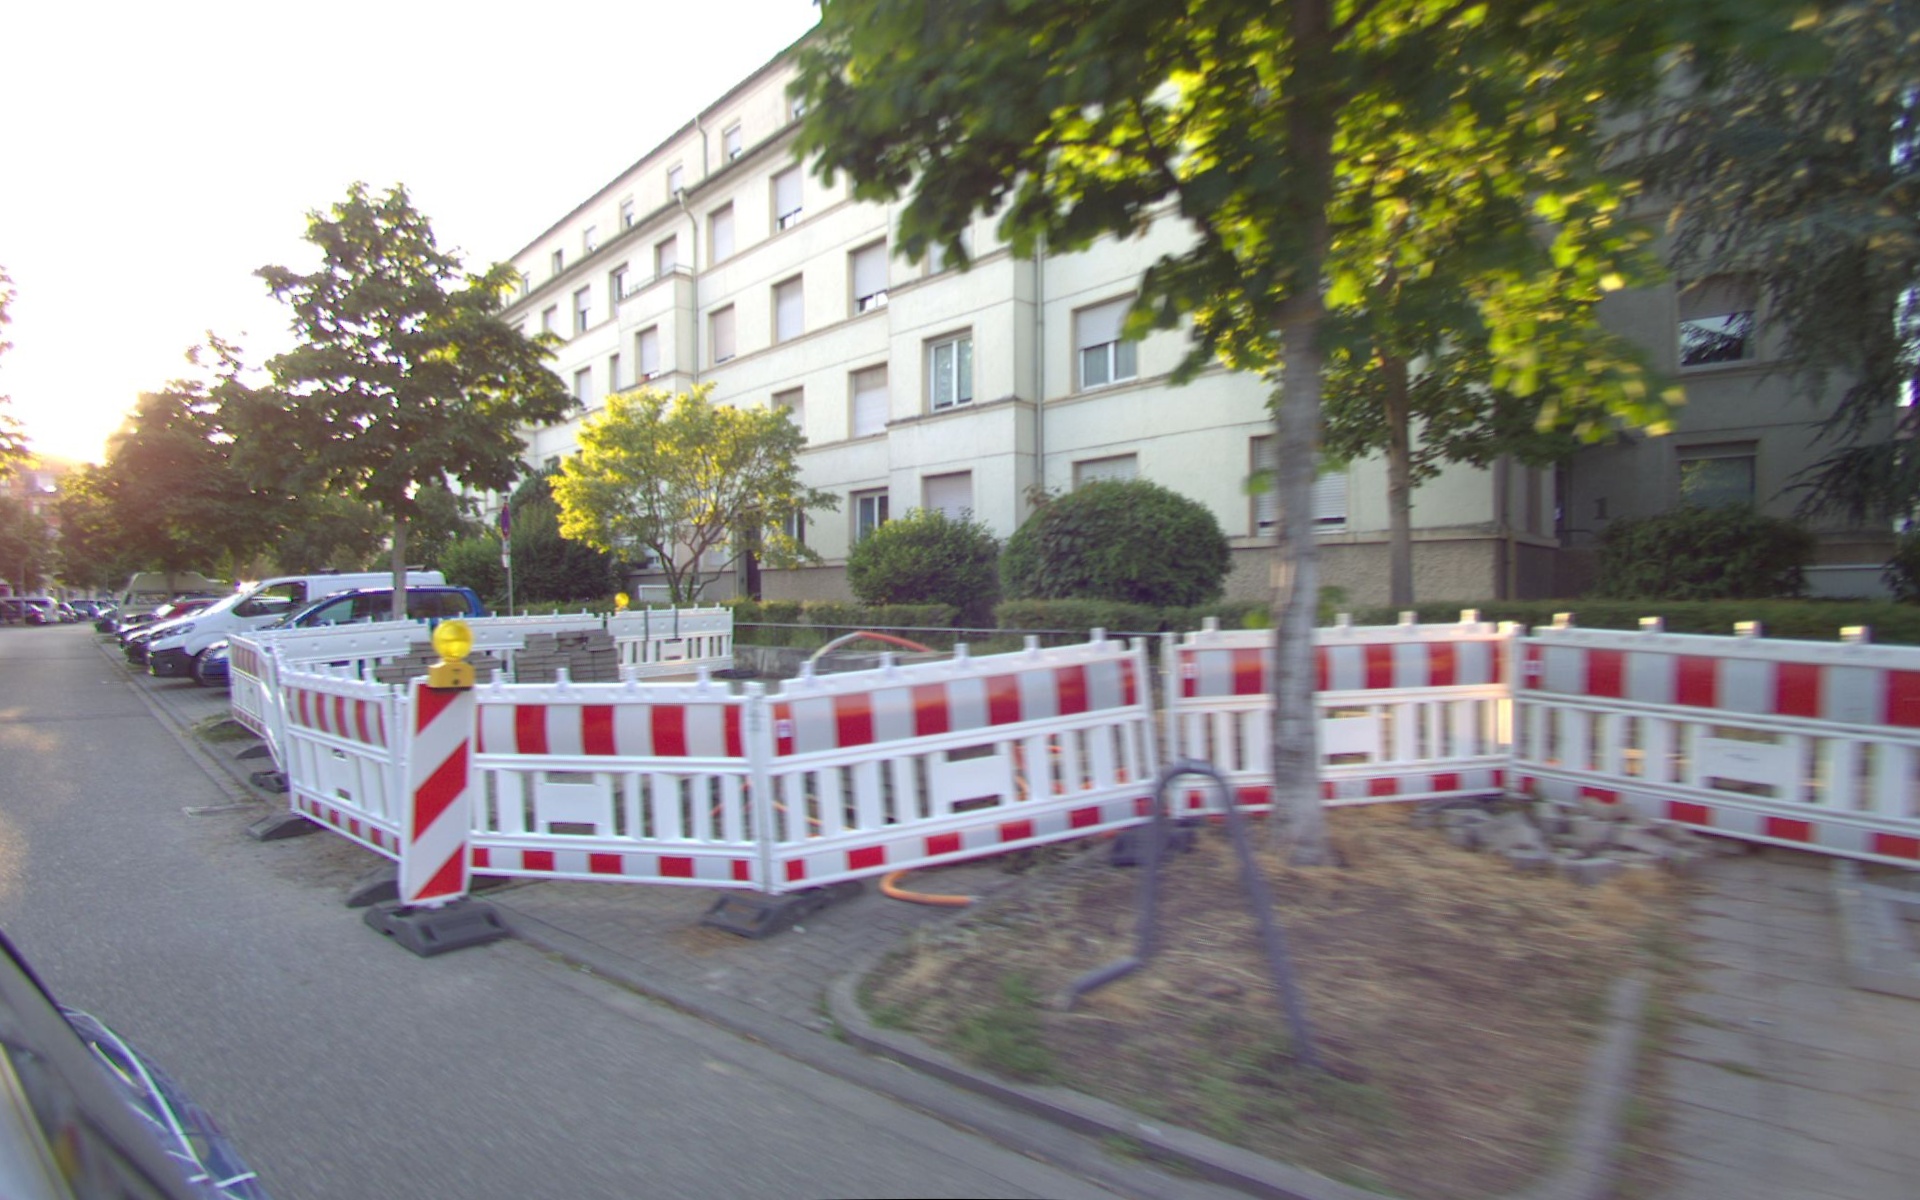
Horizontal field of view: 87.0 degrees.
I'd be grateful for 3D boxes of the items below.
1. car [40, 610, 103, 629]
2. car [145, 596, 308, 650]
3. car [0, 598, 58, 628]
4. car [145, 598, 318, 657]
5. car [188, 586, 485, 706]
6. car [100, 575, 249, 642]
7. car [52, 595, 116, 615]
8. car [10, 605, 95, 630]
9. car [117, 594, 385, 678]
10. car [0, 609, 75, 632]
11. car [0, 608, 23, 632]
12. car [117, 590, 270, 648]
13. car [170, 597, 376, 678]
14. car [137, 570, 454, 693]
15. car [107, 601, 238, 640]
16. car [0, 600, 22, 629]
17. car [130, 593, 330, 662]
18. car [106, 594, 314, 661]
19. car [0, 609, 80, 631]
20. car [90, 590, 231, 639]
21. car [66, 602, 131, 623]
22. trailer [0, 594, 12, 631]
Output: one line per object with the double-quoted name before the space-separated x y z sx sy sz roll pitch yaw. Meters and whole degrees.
"car" -80.186 1.783 91.382 3.932 1.557 1.850 3 -2 -33
"car" -23.197 0.695 32.099 1.790 1.536 3.942 -1 0 45
"car" -63.778 0.882 68.394 3.933 1.918 2.005 -1 0 -34
"car" -21.761 0.778 30.333 1.731 1.595 3.943 -1 0 43
"car" -10.428 0.676 17.103 1.800 1.765 3.942 -1 0 45
"car" -30.547 0.276 39.429 4.446 2.449 2.003 -1 0 -40
"car" -96.273 0.526 111.282 4.891 2.117 2.158 -1 1 -28
"car" -72.680 1.423 81.129 4.721 1.767 2.022 3 -3 -34
"car" -15.976 0.730 22.981 4.716 1.481 1.883 -4 3 -43
"car" -69.727 1.547 76.550 3.933 1.631 1.900 2 -2 -34
"car" -61.518 1.300 63.069 4.367 1.510 1.778 -1 0 -34
"car" -25.541 0.589 33.799 1.844 1.790 3.818 0 1 44
"car" -14.361 0.737 21.228 3.373 1.495 1.761 -1 0 -41
"car" -12.434 0.491 19.154 4.716 2.029 2.002 -1 0 -44
"car" -32.233 0.795 41.474 4.123 1.436 2.003 -1 0 -41
"car" -62.937 0.983 64.576 4.243 1.813 1.909 -1 0 -34
"car" -18.898 0.665 26.318 1.801 1.590 3.943 -1 0 43
"car" -20.675 0.706 28.044 1.900 1.627 4.358 -1 0 43
"car" -71.662 1.583 78.870 4.355 1.587 1.986 3 -3 -34
"car" -34.013 0.588 43.116 4.616 1.888 2.003 -1 0 -41
"car" -85.102 1.242 100.081 4.523 1.876 2.018 4 -3 -31
"trailer" -59.520 0.806 60.432 3.934 2.204 2.005 -1 0 -35
